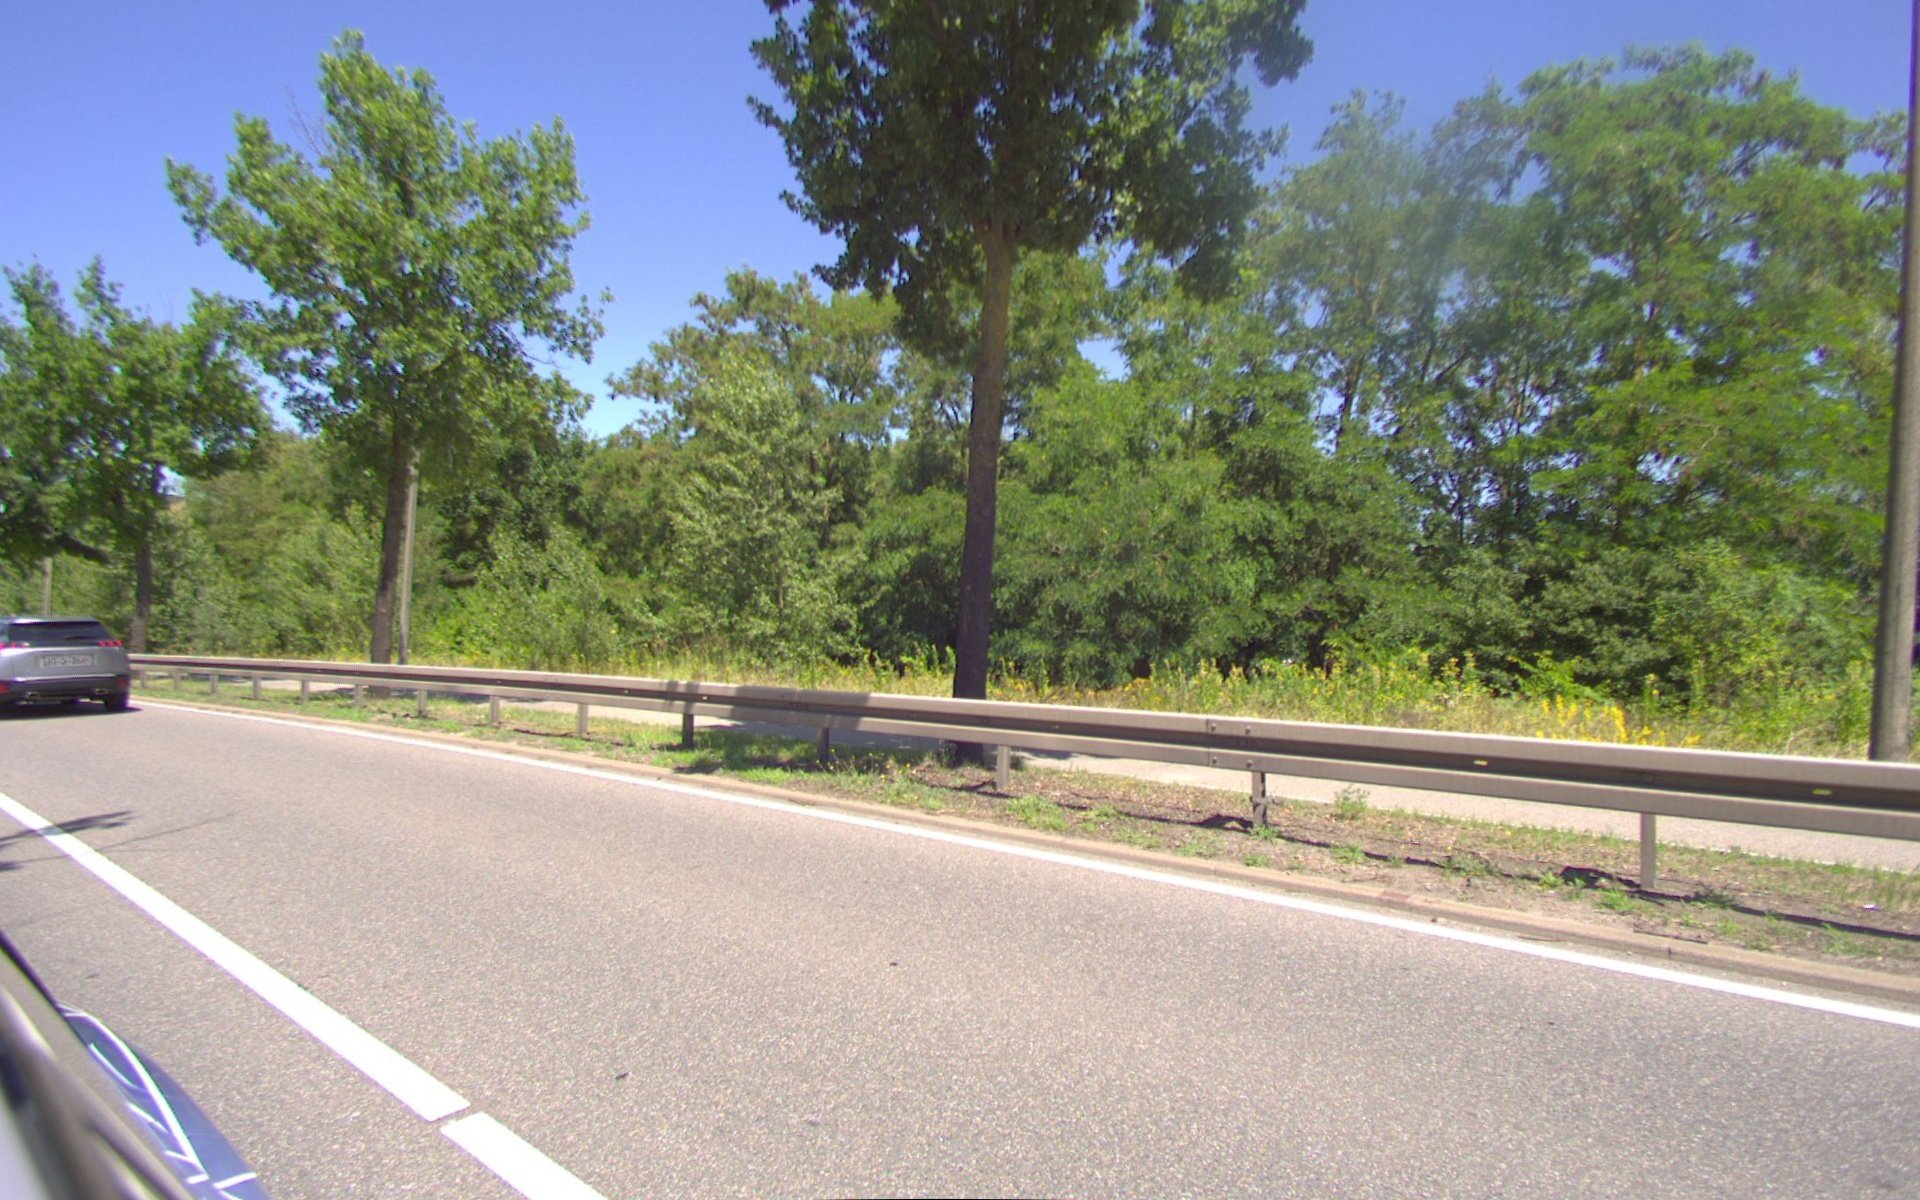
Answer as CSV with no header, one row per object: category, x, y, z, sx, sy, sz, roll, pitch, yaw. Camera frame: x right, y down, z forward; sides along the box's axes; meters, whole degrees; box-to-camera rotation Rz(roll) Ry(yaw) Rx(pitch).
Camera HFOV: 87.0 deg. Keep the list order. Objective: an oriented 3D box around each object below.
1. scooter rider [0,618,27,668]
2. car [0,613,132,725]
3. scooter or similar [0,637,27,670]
scooter rider,-32.732,1.454,34.786,1.118,1.670,0.770,-1,0,35
car,-14.903,1.006,16.023,4.117,1.567,1.734,-1,0,35
scooter or similar,-32.739,1.837,34.791,1.093,1.099,0.770,-1,0,36
